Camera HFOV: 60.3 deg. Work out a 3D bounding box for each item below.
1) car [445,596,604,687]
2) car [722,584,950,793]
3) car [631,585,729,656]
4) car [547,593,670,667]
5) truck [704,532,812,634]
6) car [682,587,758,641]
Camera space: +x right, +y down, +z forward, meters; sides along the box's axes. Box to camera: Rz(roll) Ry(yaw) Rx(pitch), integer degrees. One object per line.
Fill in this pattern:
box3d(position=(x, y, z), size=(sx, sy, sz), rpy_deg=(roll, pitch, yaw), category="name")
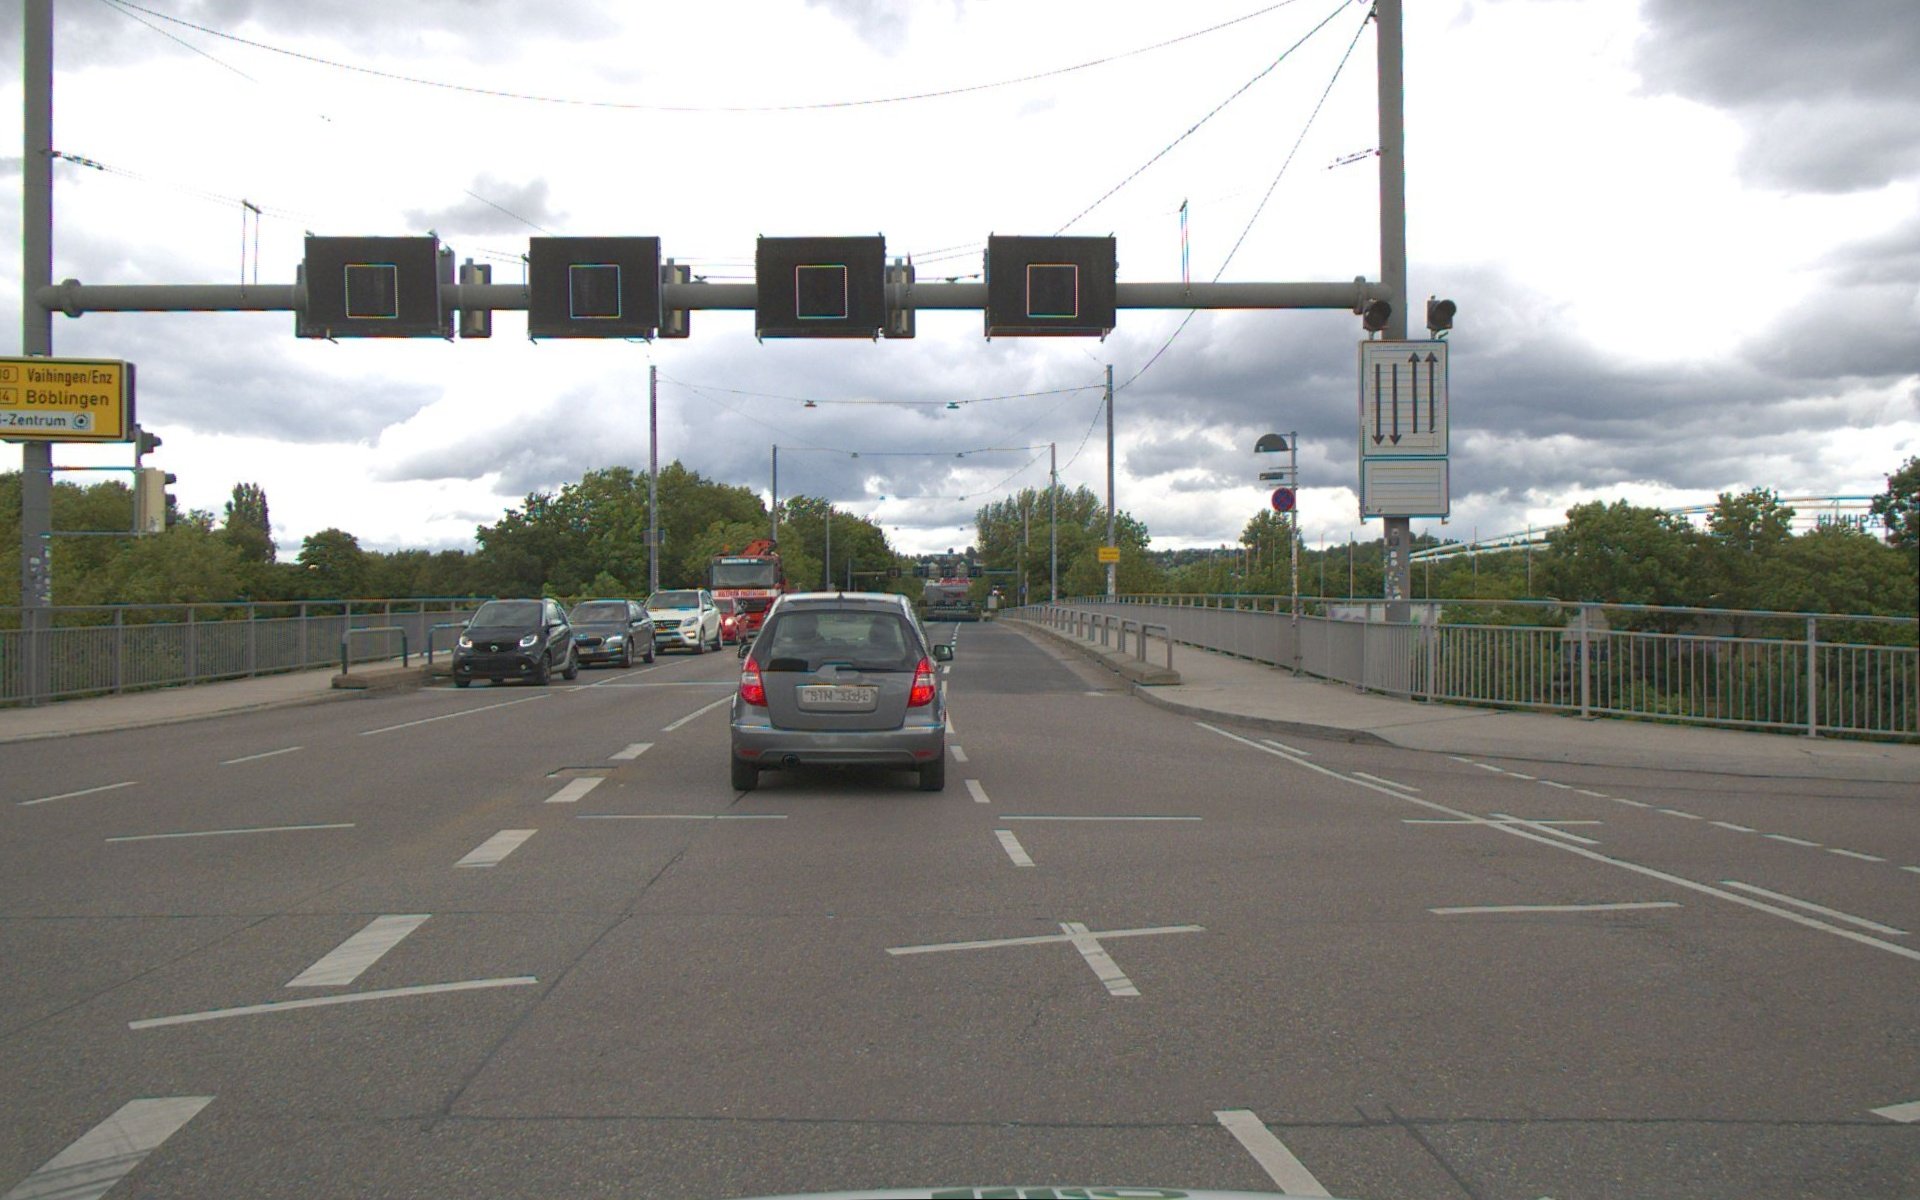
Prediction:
box3d(position=(-8.057, 0.730, 30.932), size=(1.797, 1.530, 3.872), rpy_deg=(-1, 0, 2), category="car")
box3d(position=(-0.953, 0.660, 14.514), size=(1.709, 1.577, 3.871), rpy_deg=(0, 0, 0), category="car")
box3d(position=(-7.634, 0.521, 45.437), size=(1.841, 1.792, 4.802), rpy_deg=(-1, 0, 0), category="car")
box3d(position=(-7.871, 0.629, 37.484), size=(1.798, 1.530, 4.516), rpy_deg=(-1, 0, 0), category="car")
box3d(position=(-7.754, -0.649, 64.834), size=(2.944, 3.628, 9.981), rpy_deg=(-1, 0, 0), category="truck")
box3d(position=(-7.762, 0.433, 53.818), size=(1.841, 1.631, 4.015), rpy_deg=(-1, 0, 0), category="car")
